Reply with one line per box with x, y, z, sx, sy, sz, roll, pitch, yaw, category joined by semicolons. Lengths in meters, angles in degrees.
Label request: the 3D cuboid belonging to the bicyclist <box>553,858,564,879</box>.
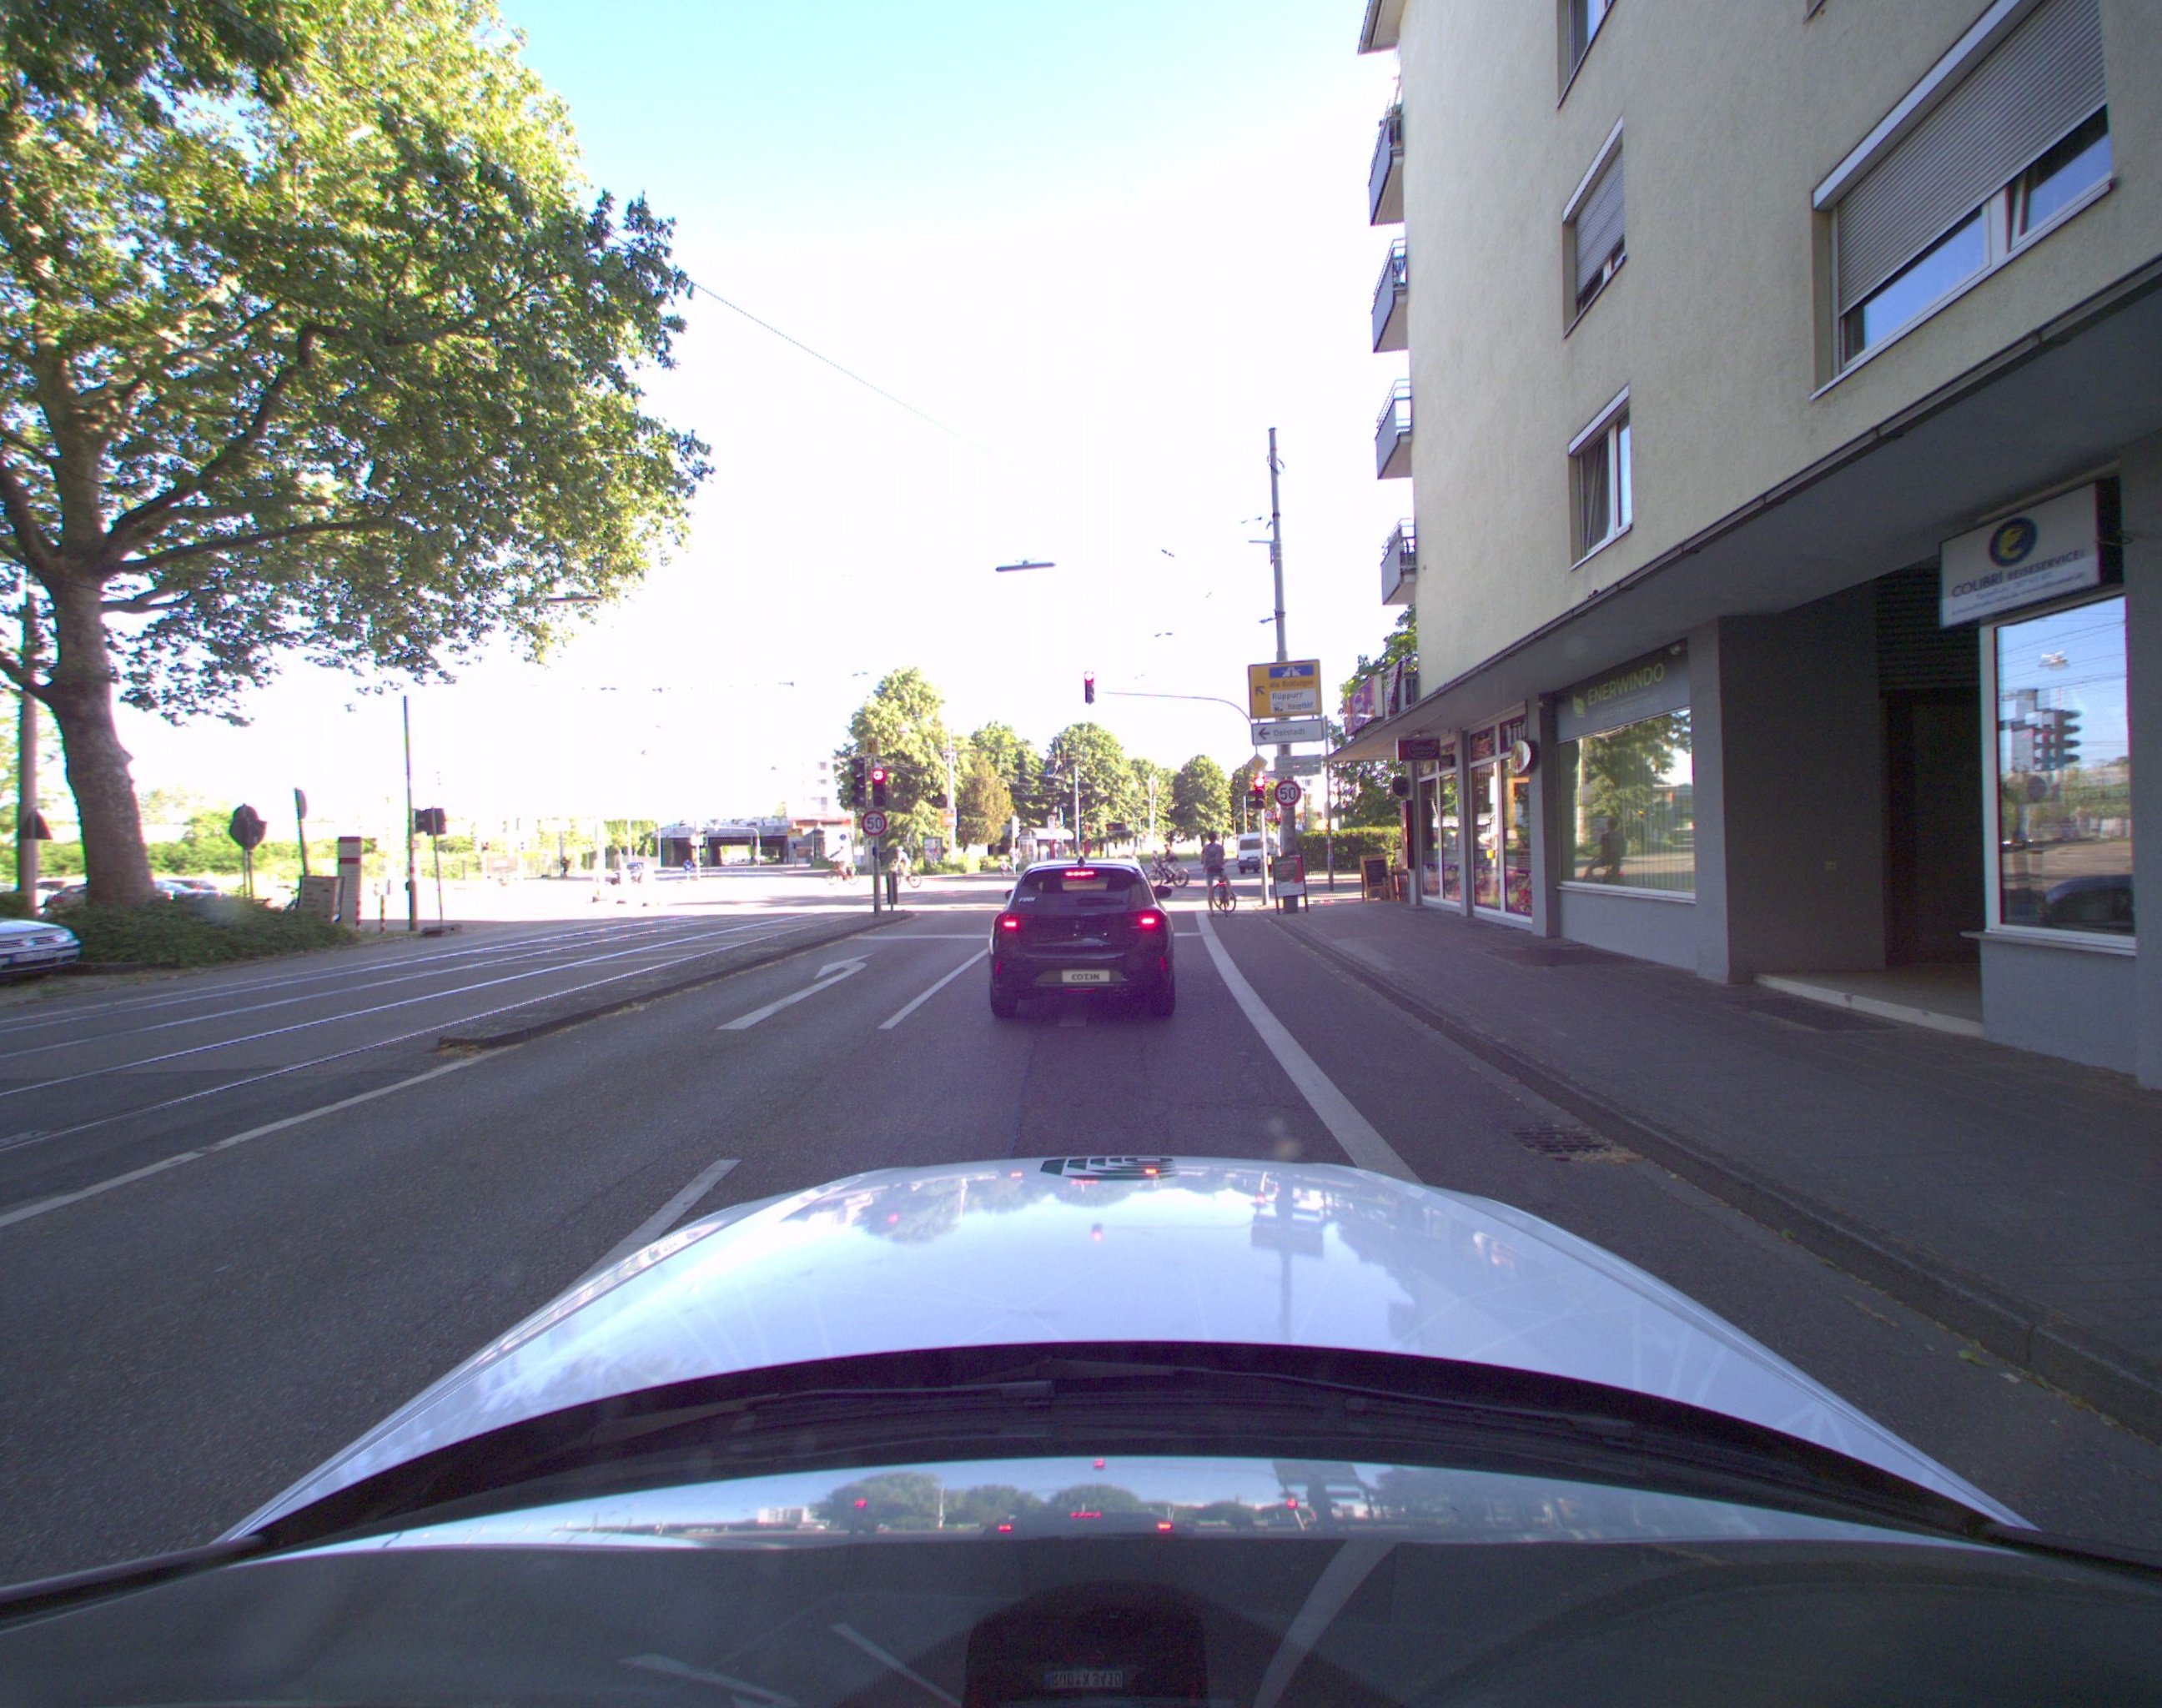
-40.083;1.132;62.531;0.639;1.563;0.825;-2;0;-31;bicyclist

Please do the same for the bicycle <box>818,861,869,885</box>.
-11.589;0.916;39.752;2.276;1.084;0.804;-2;0;14;bicycle

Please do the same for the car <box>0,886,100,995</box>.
-16.951;1.213;11.357;4.497;1.429;1.676;0;0;0;car

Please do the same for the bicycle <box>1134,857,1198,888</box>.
3.127;0.676;30.039;2.199;1.033;0.828;-2;0;-21;bicycle

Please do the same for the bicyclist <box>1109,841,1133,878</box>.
1.753;0.240;35.645;0.853;1.595;0.653;-2;0;23;bicyclist

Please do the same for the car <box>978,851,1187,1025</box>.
0.090;0.695;8.884;1.720;1.429;4.189;-1;0;2;car

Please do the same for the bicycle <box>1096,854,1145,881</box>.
1.725;0.593;35.665;2.036;1.094;0.596;-2;0;23;bicycle

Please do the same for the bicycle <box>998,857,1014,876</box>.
-4.297;0.716;46.732;0.603;1.031;1.983;-2;0;2;bicycle

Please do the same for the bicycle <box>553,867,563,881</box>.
-40.112;1.519;62.477;0.585;1.060;2.022;-2;0;-30;bicycle

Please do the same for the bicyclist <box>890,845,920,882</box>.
-7.742;0.420;35.819;1.003;1.570;0.802;-2;0;13;bicyclist

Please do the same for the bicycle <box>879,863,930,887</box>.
-7.777;0.919;35.844;2.044;0.984;0.675;-2;0;12;bicycle

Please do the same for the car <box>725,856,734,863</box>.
-93.193;1.530;216.030;2.223;1.823;4.114;-2;0;-24;car

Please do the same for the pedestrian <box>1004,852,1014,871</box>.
-6.270;0.654;70.981;0.746;1.629;0.599;0;-1;8;pedestrian

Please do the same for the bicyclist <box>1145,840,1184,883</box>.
3.082;0.284;30.017;1.117;1.520;0.915;-2;0;-21;bicyclist

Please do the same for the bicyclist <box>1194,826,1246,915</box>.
3.016;0.353;17.730;0.938;1.851;0.864;-2;0;1;bicyclist

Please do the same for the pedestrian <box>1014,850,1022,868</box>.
-5.502;0.444;71.063;0.633;1.629;0.573;0;-1;9;pedestrian

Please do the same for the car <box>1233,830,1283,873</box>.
10.153;-0.171;46.377;2.046;2.248;4.912;-2;0;20;car

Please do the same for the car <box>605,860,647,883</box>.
-31.278;1.159;56.097;1.830;1.519;3.870;0;0;-18;car

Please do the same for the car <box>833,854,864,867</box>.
-34.305;0.928;120.179;4.188;1.805;1.725;-2;0;-19;car

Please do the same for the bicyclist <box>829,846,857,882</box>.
-11.593;0.469;39.736;0.920;1.707;0.878;-2;0;14;bicyclist

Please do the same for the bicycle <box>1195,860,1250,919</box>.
3.059;0.732;17.836;0.857;1.153;2.172;-2;0;1;bicycle
